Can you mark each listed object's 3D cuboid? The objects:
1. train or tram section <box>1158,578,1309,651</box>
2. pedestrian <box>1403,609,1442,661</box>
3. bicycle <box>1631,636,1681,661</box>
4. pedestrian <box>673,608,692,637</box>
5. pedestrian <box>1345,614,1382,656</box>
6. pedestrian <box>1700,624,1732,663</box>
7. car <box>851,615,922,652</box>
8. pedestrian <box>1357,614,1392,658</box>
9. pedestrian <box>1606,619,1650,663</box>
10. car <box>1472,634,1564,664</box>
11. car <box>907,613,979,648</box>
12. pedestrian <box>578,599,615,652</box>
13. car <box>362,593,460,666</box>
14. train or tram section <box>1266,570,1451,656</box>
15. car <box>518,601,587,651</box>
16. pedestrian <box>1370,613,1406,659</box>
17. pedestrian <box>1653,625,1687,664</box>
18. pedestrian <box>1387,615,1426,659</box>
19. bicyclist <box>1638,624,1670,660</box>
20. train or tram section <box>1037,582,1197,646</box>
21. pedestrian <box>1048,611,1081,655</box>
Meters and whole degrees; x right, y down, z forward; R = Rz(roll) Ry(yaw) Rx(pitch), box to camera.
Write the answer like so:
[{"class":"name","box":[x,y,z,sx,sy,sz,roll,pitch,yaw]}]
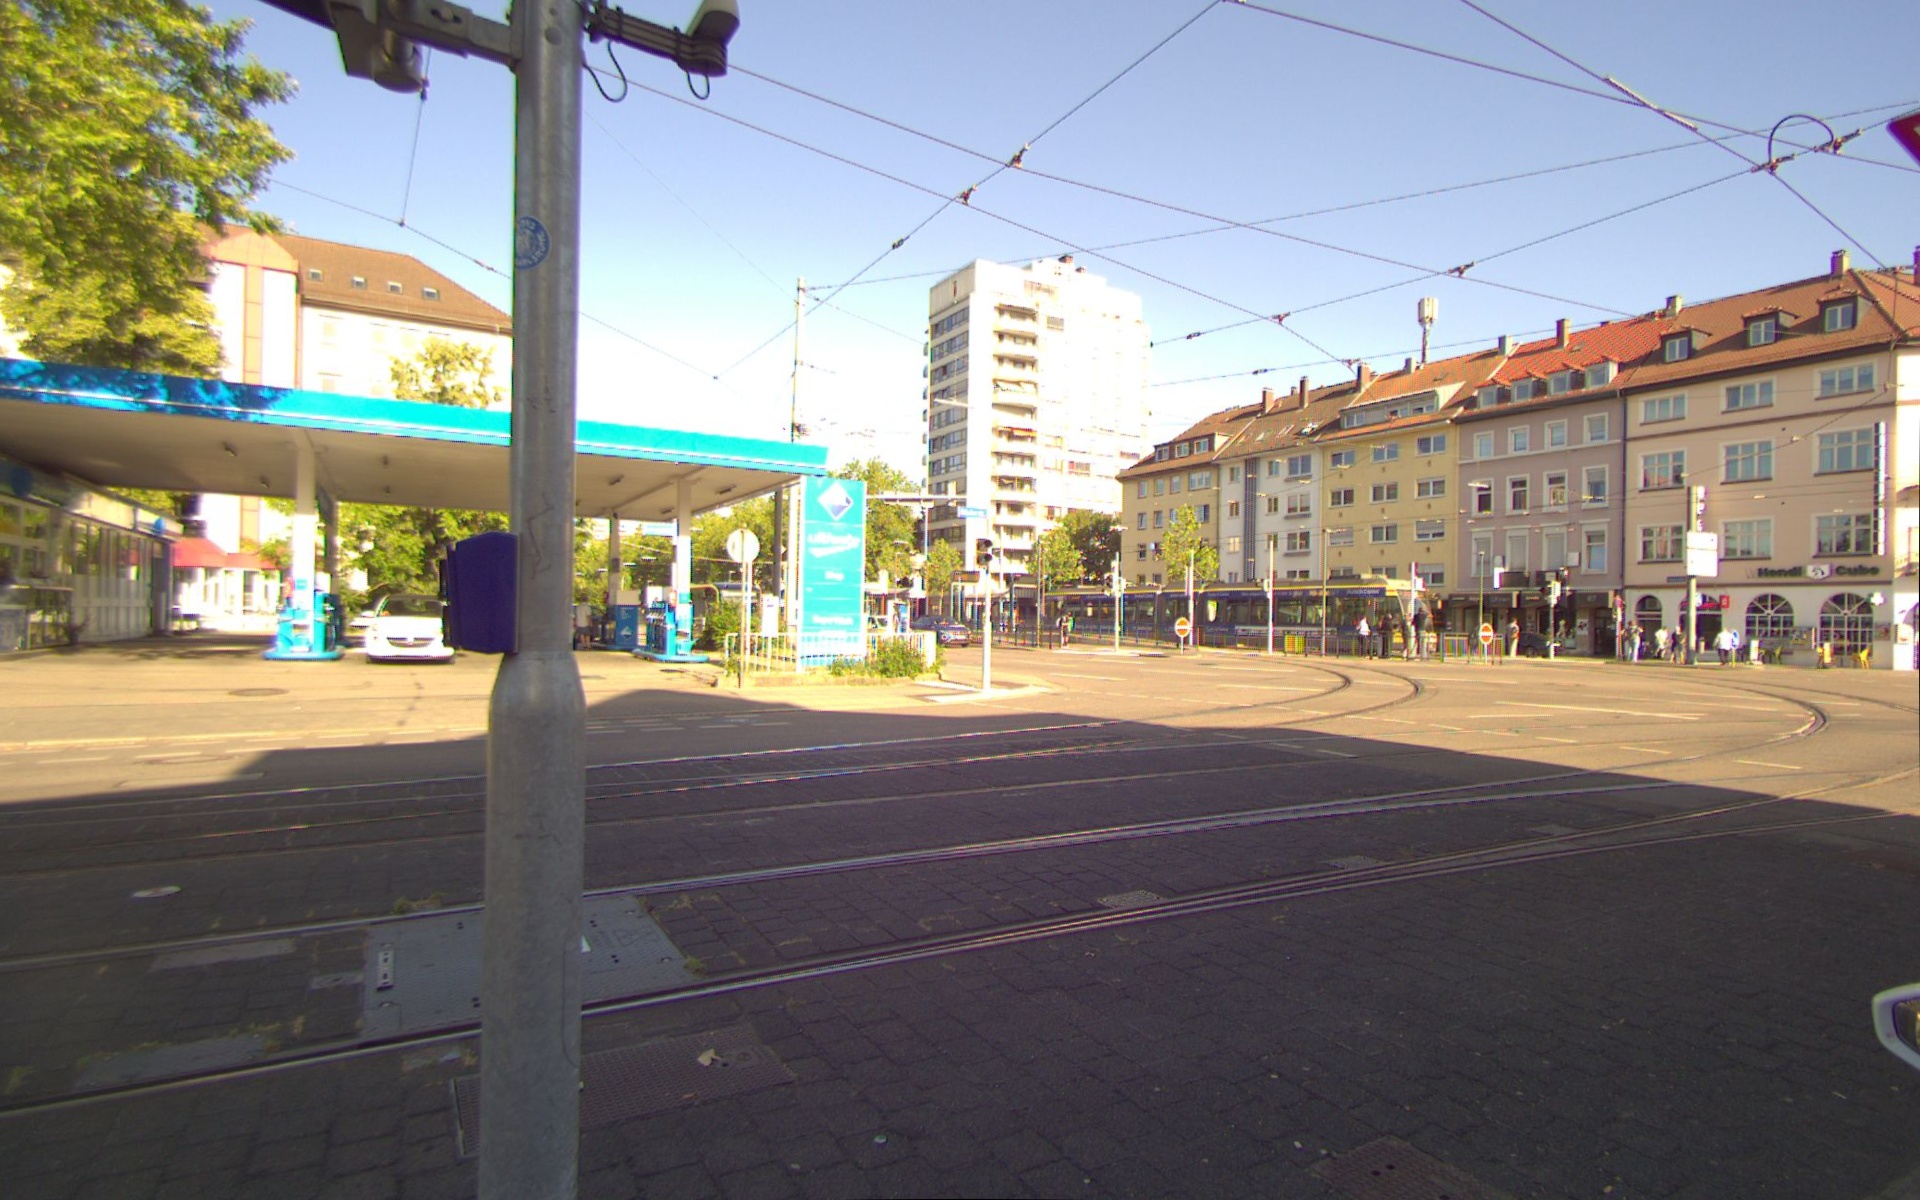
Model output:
[{"class":"train or tram section","box":[14.105,0.757,52.669,2.787,3.546,8.404,1,-1,-27]},{"class":"pedestrian","box":[16.511,1.246,35.860,0.923,1.798,1.010,1,-1,1]},{"class":"bicycle","box":[36.195,2.503,52.229,0.623,1.197,2.081,1,-1,-29]},{"class":"pedestrian","box":[-15.458,1.237,55.928,0.907,1.595,0.959,1,-1,-22]},{"class":"pedestrian","box":[15.747,1.352,39.256,0.925,1.619,1.007,1,-1,-13]},{"class":"pedestrian","box":[35.270,2.020,46.846,0.990,1.798,0.941,0,-1,23]},{"class":"car","box":[-3.476,1.527,46.742,1.863,1.601,3.971,1,-1,-28]},{"class":"pedestrian","box":[15.577,1.338,37.741,0.922,1.619,1.010,1,-1,3]},{"class":"pedestrian","box":[26.647,1.613,40.073,1.091,1.707,1.075,1,-1,-30]},{"class":"car","box":[30.429,2.634,54.911,1.977,1.472,3.966,1,-1,-31]},{"class":"car","box":[-0.851,1.427,48.323,1.863,1.601,3.971,1,-1,-28]},{"class":"pedestrian","box":[-11.665,0.810,32.222,0.804,1.647,1.152,1,-1,-36]},{"class":"car","box":[-12.323,0.633,22.537,1.760,1.483,3.968,1,-1,-30]},{"class":"train or tram section","box":[17.764,0.599,45.435,2.788,3.546,7.907,1,-1,-27]},{"class":"car","box":[-13.450,0.837,33.020,1.725,1.431,4.061,5,-2,-26]},{"class":"pedestrian","box":[15.614,1.300,36.650,0.922,1.619,1.010,1,-1,2]},{"class":"pedestrian","box":[34.072,2.125,48.208,0.926,1.798,1.006,1,-1,-15]},{"class":"pedestrian","box":[16.608,1.369,37.363,0.924,1.619,1.008,1,-1,-9]},{"class":"bicyclist","box":[36.101,2.180,52.263,0.740,1.798,1.159,1,-1,-31]},{"class":"train or tram section","box":[9.259,0.825,61.492,2.747,3.546,11.932,1,-1,-30]},{"class":"pedestrian","box":[4.653,1.457,44.663,1.086,1.870,1.169,0,-1,26]}]
